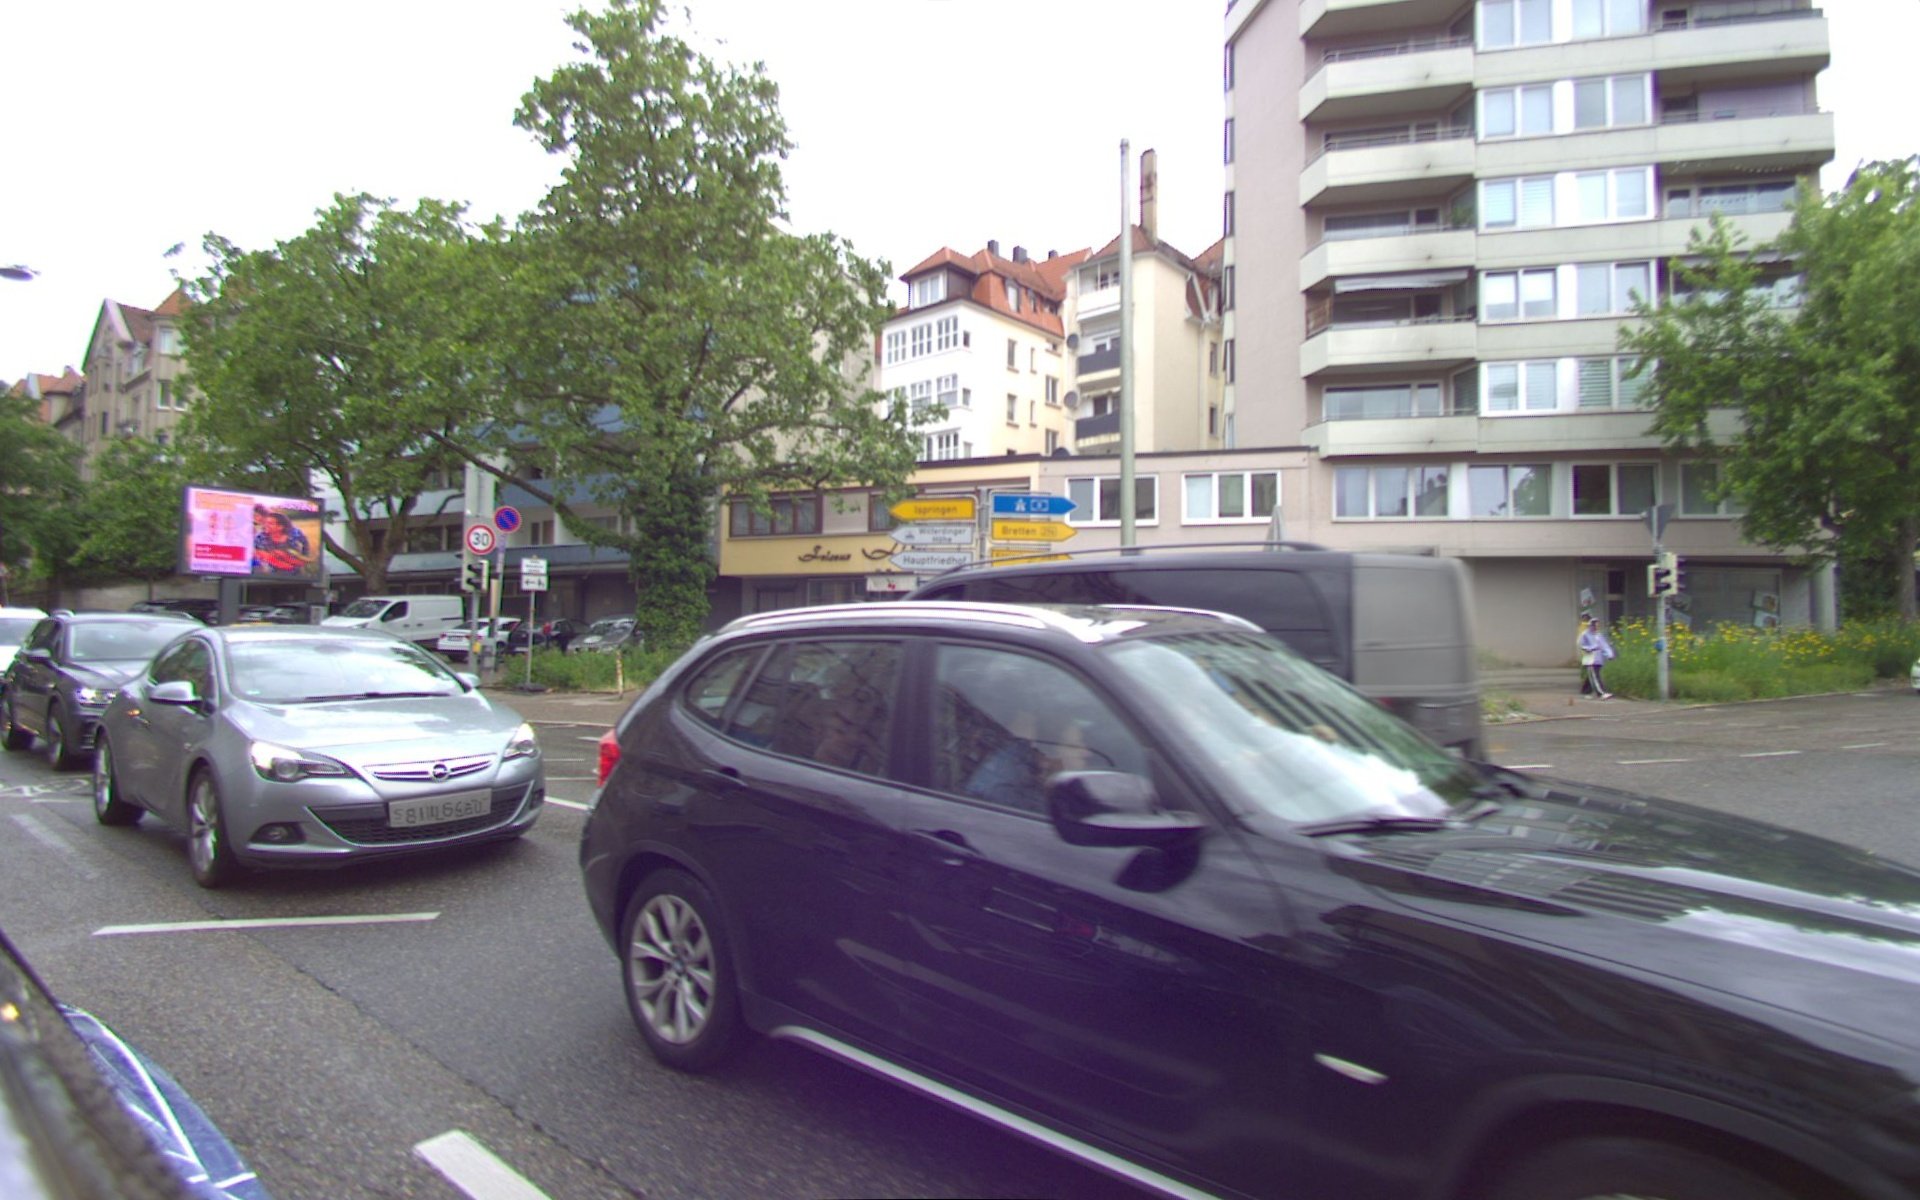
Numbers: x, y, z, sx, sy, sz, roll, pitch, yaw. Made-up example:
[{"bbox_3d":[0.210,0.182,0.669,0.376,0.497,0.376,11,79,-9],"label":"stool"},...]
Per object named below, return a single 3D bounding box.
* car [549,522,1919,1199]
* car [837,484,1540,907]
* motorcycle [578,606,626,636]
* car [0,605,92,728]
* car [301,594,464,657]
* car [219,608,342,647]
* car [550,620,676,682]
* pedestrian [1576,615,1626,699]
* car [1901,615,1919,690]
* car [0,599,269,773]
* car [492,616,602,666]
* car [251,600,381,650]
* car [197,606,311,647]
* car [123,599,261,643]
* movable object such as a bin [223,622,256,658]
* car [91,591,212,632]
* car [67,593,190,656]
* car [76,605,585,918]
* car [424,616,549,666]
[{"bbox_3d":[0.686,0.688,2.990,4.211,1.546,1.734,-1,-1,39],"label":"car"},{"bbox_3d":[1.188,0.447,6.552,1.722,1.860,4.149,3,-2,-44],"label":"car"},{"bbox_3d":[-14.805,0.878,41.851,1.952,1.176,0.697,1,-1,28],"label":"motorcycle"},{"bbox_3d":[-15.125,0.939,15.633,4.372,1.657,1.736,1,0,37],"label":"car"},{"bbox_3d":[-19.837,0.822,35.049,1.865,1.992,4.947,1,0,18],"label":"car"},{"bbox_3d":[-26.600,1.054,39.764,1.677,1.416,3.814,1,-1,17],"label":"car"},{"bbox_3d":[-10.531,1.495,31.043,1.919,1.655,4.205,1,0,9],"label":"car"},{"bbox_3d":[13.325,1.170,21.043,0.610,1.706,0.626,0,0,-8],"label":"pedestrian"},{"bbox_3d":[21.585,1.056,20.555,4.317,1.503,1.920,0,-1,-21],"label":"car"},{"bbox_3d":[-9.675,0.874,11.611,4.207,1.657,1.735,-2,-2,38],"label":"car"},{"bbox_3d":[-12.989,1.248,32.037,1.612,1.426,3.612,1,0,9],"label":"car"},{"bbox_3d":[-24.069,0.929,37.963,1.793,1.702,3.811,2,0,19],"label":"car"},{"bbox_3d":[-28.495,1.037,40.984,1.661,1.416,3.828,1,2,7],"label":"car"},{"bbox_3d":[-31.088,0.813,41.141,1.794,1.605,4.292,2,1,14],"label":"car"},{"bbox_3d":[-22.504,1.242,31.620,0.626,1.087,0.636,1,-1,35],"label":"movable object such as a bin"},{"bbox_3d":[-34.289,0.458,43.049,1.752,1.543,3.824,1,2,10],"label":"car"},{"bbox_3d":[-21.582,0.594,26.224,3.677,1.508,1.698,0,0,38],"label":"car"},{"bbox_3d":[-4.446,0.802,6.874,4.178,1.494,1.734,0,-2,40],"label":"car"},{"bbox_3d":[-15.254,1.291,32.841,1.794,1.426,3.690,1,0,13],"label":"car"}]
